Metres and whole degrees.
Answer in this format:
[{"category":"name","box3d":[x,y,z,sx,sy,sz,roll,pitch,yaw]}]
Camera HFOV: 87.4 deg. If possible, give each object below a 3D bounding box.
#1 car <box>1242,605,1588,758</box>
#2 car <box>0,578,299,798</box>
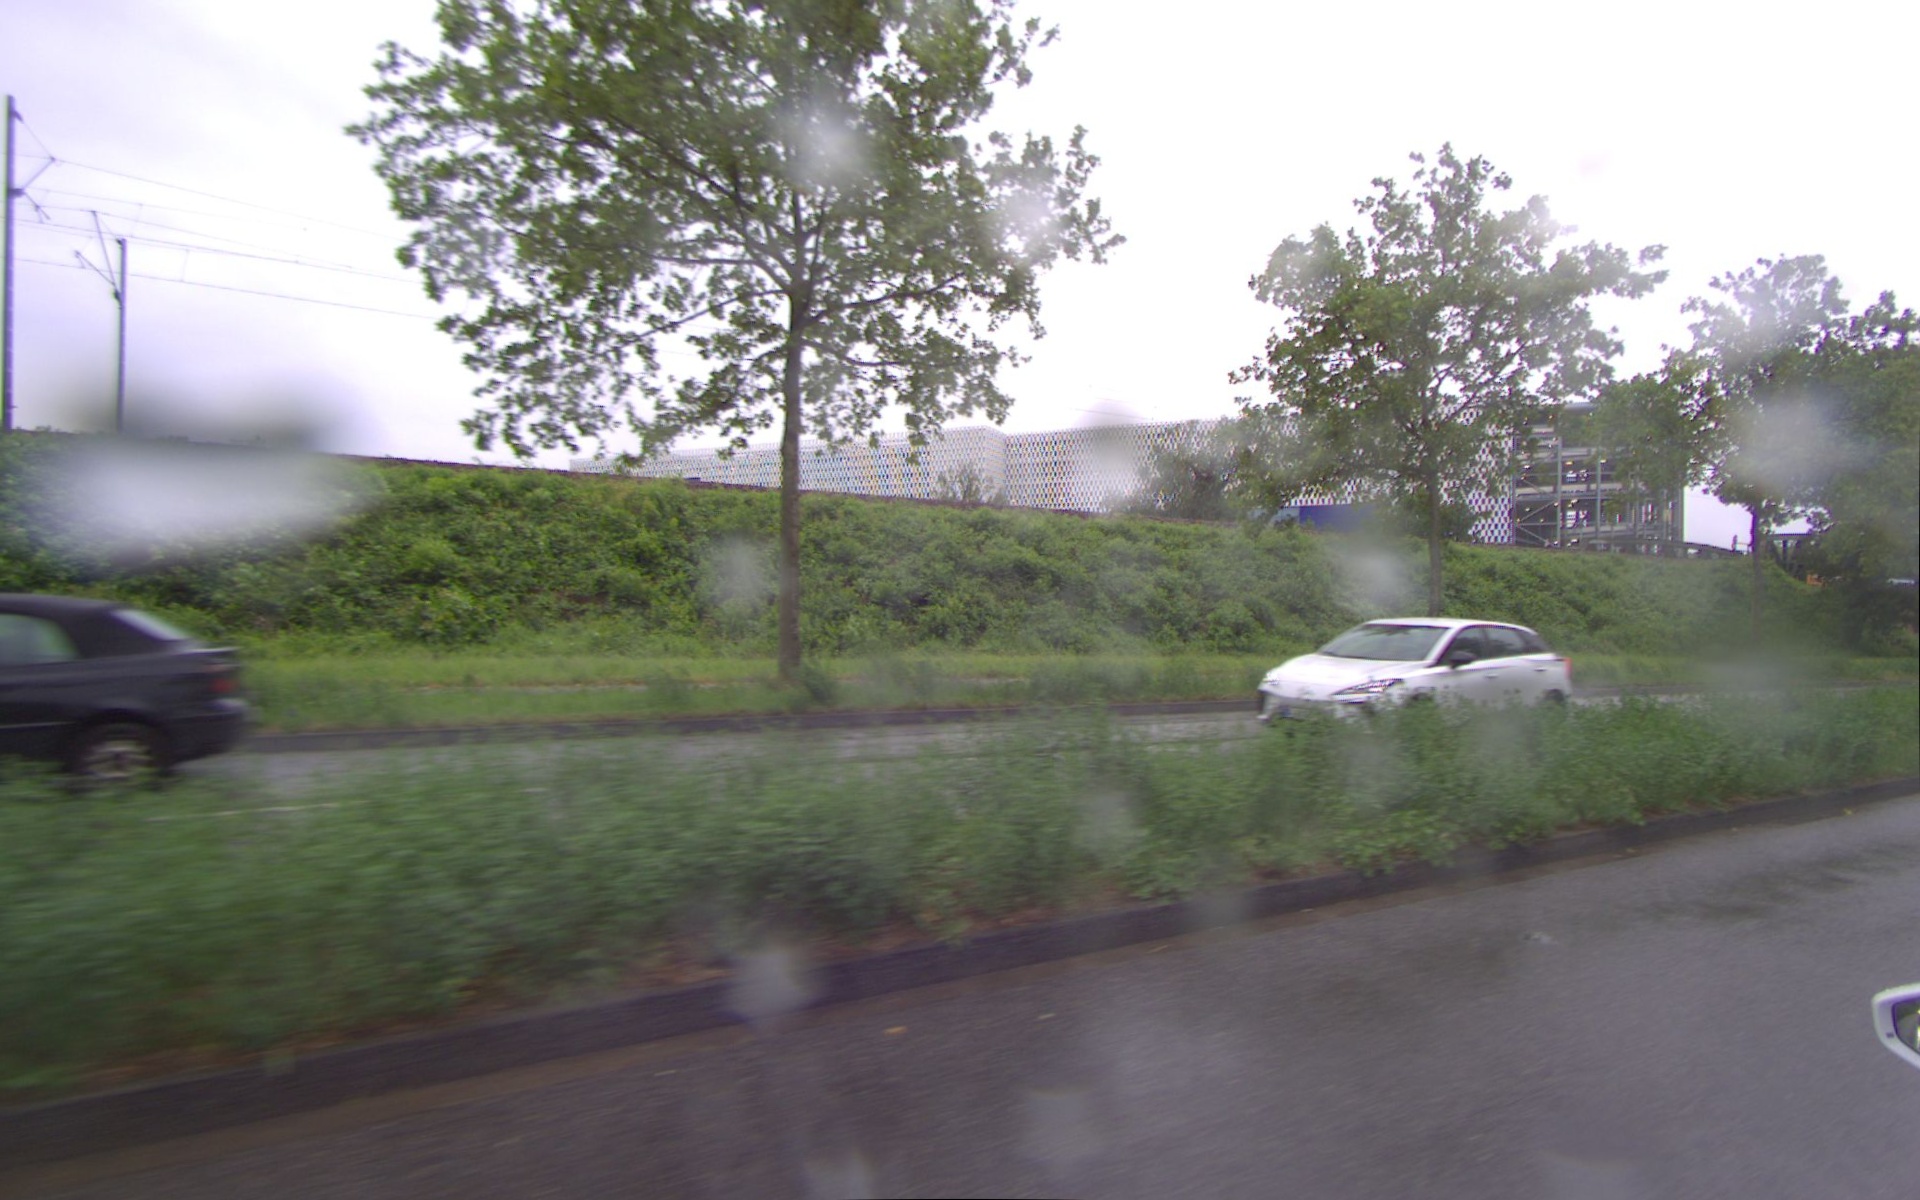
[{"category":"car","box3d":[5.481,0.872,11.972,4.156,1.515,1.693,1,0,-31]},{"category":"car","box3d":[-7.119,0.562,7.110,3.954,1.445,1.623,1,0,-31]}]
